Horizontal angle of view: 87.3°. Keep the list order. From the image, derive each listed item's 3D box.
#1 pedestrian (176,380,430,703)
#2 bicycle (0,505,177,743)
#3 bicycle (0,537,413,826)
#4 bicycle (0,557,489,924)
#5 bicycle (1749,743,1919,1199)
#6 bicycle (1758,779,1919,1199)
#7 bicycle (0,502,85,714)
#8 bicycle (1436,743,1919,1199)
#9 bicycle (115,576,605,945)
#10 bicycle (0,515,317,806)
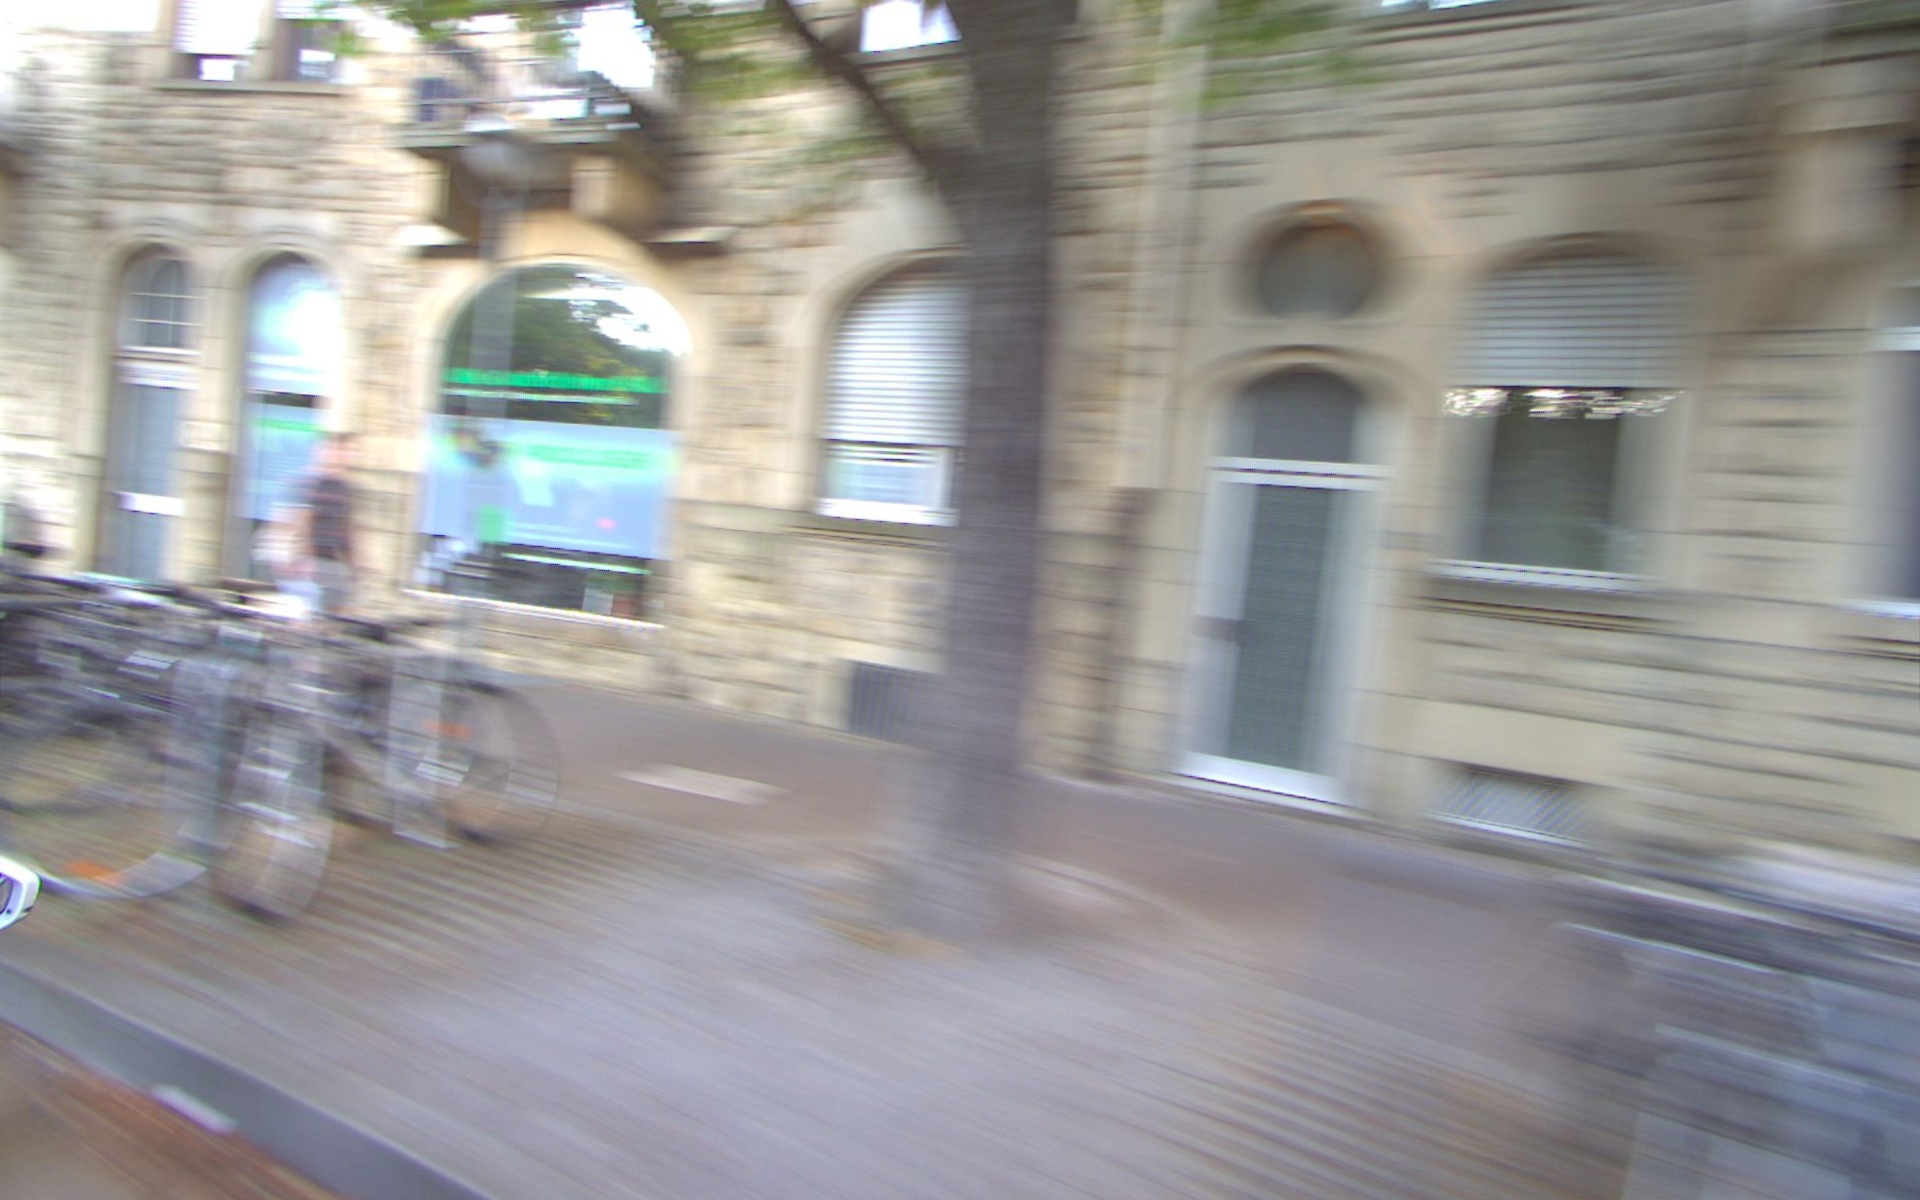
[{"bbox_3d":[-4.767,-0.412,7.342,1.041,2.114,1.012,8,3,22],"label":"pedestrian"},{"bbox_3d":[-5.166,0.093,4.985,0.691,1.177,1.890,7,1,20],"label":"bicycle"},{"bbox_3d":[-3.515,0.332,4.672,0.477,1.092,1.673,7,1,26],"label":"bicycle"},{"bbox_3d":[-2.720,0.447,3.942,0.477,1.092,1.674,7,1,19],"label":"bicycle"},{"bbox_3d":[1.693,0.934,1.703,0.485,1.231,1.878,0,-3,36],"label":"bicycle"},{"bbox_3d":[2.301,1.060,1.762,0.563,1.118,1.855,7,1,13],"label":"bicycle"},{"bbox_3d":[-5.871,0.008,5.217,0.628,1.177,1.890,7,1,20],"label":"bicycle"},{"bbox_3d":[1.356,0.974,1.979,0.483,1.154,1.884,11,2,23],"label":"bicycle"},{"bbox_3d":[-2.187,0.512,3.952,0.477,1.092,1.674,7,1,19],"label":"bicycle"},{"bbox_3d":[-3.931,0.254,4.470,0.478,1.143,1.672,14,5,27],"label":"bicycle"}]
